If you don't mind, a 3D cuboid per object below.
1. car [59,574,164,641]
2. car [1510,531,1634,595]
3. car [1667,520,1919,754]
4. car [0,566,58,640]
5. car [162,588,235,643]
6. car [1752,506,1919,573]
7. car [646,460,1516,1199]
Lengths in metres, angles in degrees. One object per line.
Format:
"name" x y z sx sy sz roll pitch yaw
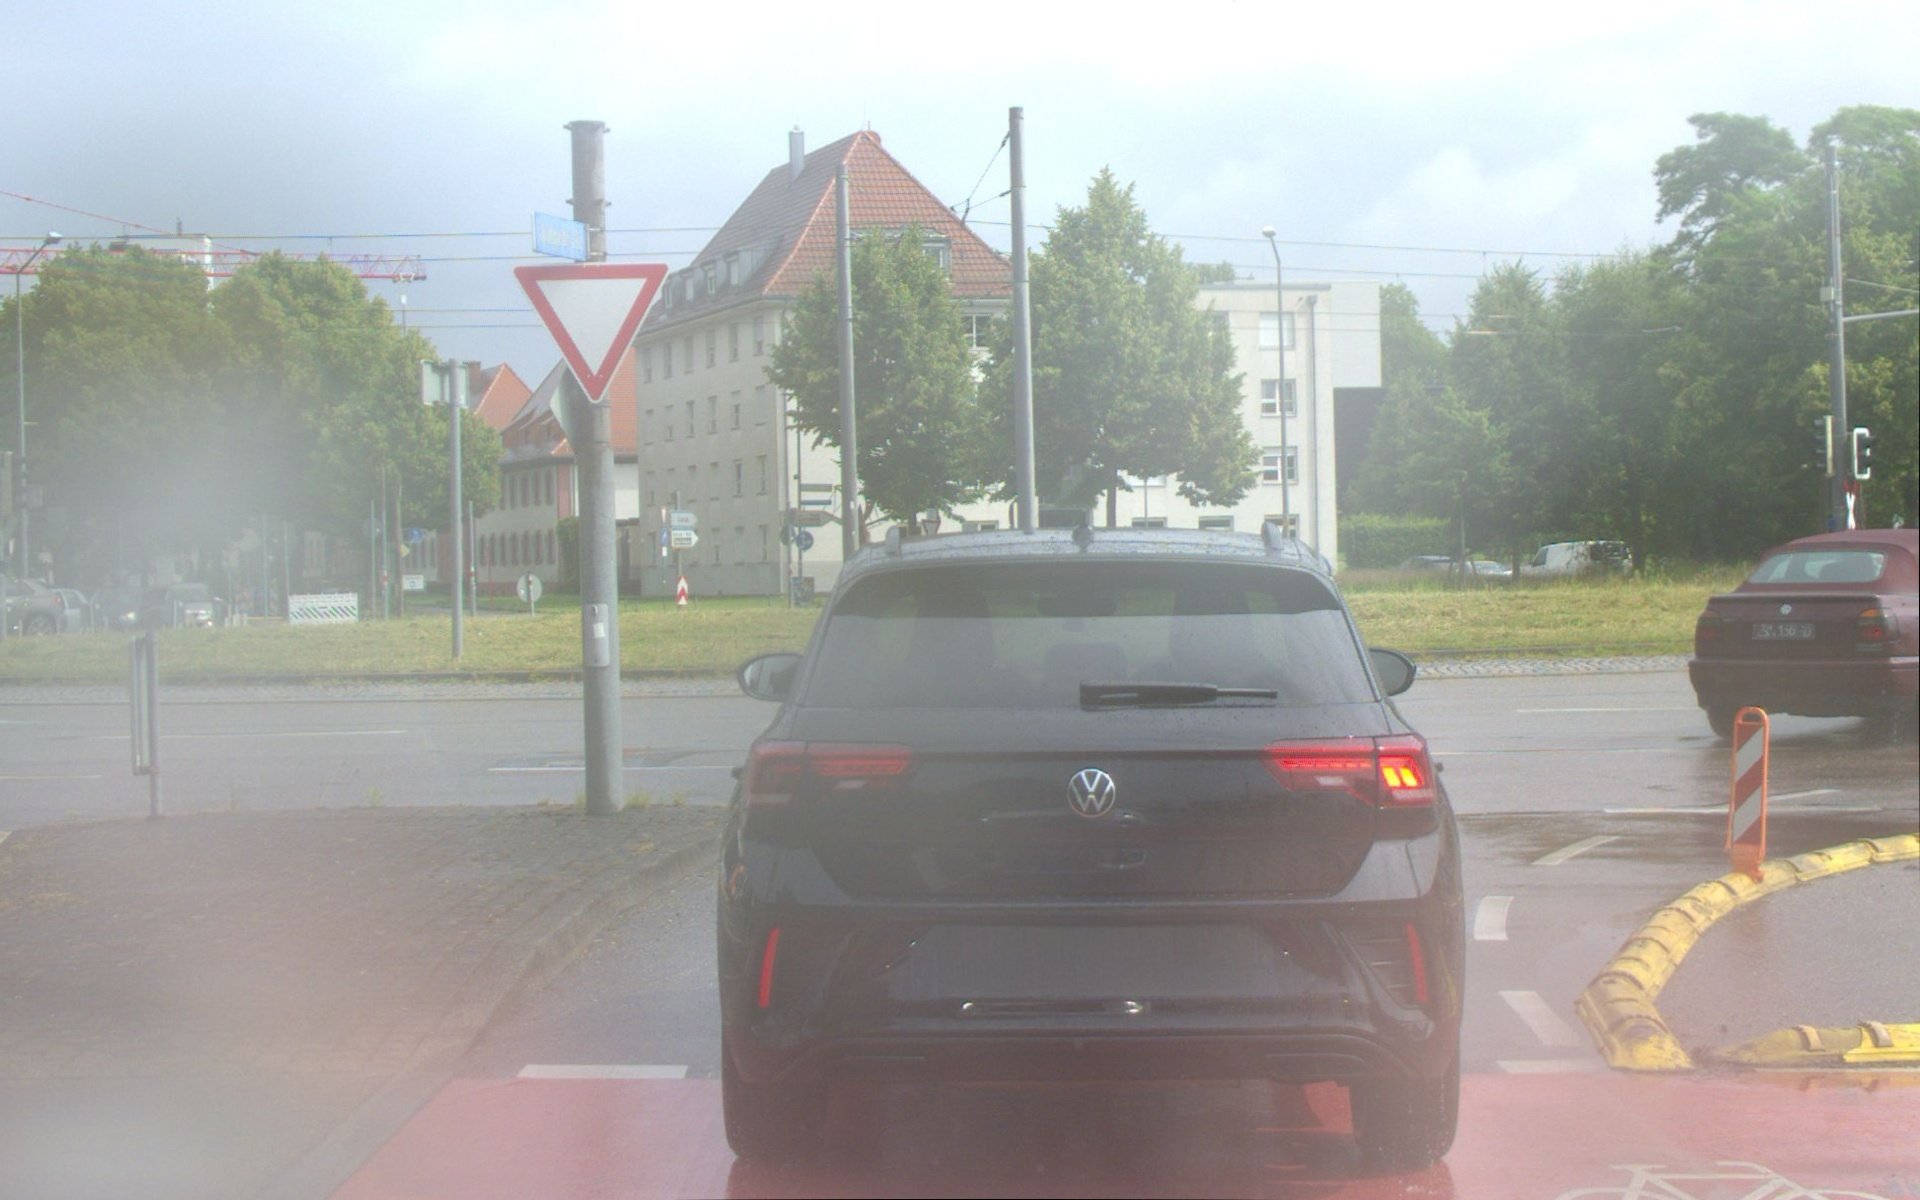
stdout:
"car" -21.414 0.162 86.859 1.791 1.579 4.001 -1 1 -2
"car" 20.653 -1.266 116.198 2.106 2.050 5.163 -2 2 -15
"car" 6.734 0.193 24.392 1.718 1.457 3.991 -1 2 38
"car" -21.511 0.088 74.121 1.573 1.555 3.668 0 2 45
"car" -22.540 0.452 101.823 1.545 1.555 3.501 -1 1 -3
"car" 20.128 -1.378 78.873 1.546 1.449 3.498 -3 2 -44
"car" 0.288 0.482 9.546 1.897 1.612 4.000 0 1 1
